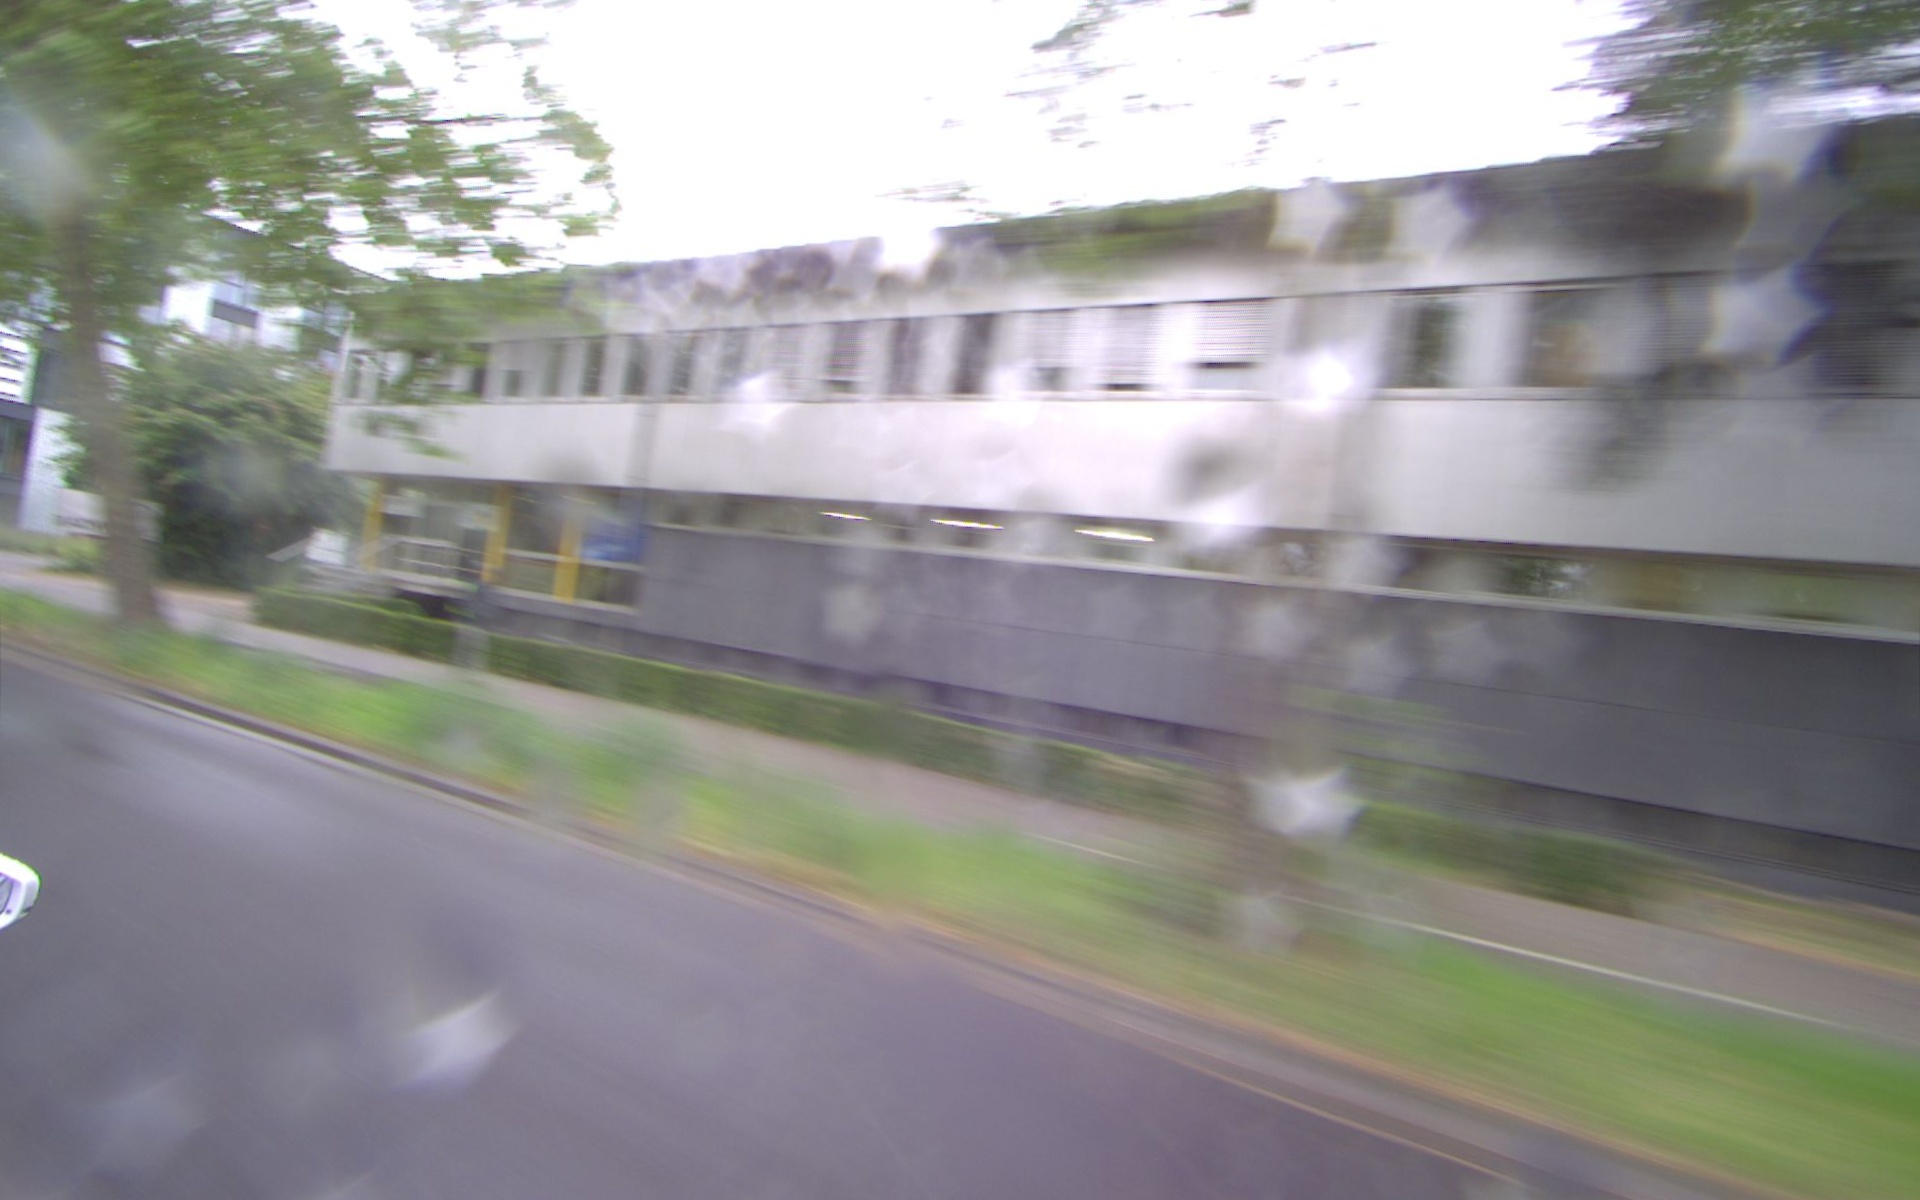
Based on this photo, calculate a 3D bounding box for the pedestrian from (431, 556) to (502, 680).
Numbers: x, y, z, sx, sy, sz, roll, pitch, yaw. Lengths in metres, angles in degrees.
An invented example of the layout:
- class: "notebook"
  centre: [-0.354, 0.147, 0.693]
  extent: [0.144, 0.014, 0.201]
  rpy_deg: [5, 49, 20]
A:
- class: "pedestrian"
  centre: [-7.267, 0.247, 14.789]
  extent: [0.666, 1.687, 0.819]
  rpy_deg: [10, -1, -29]
